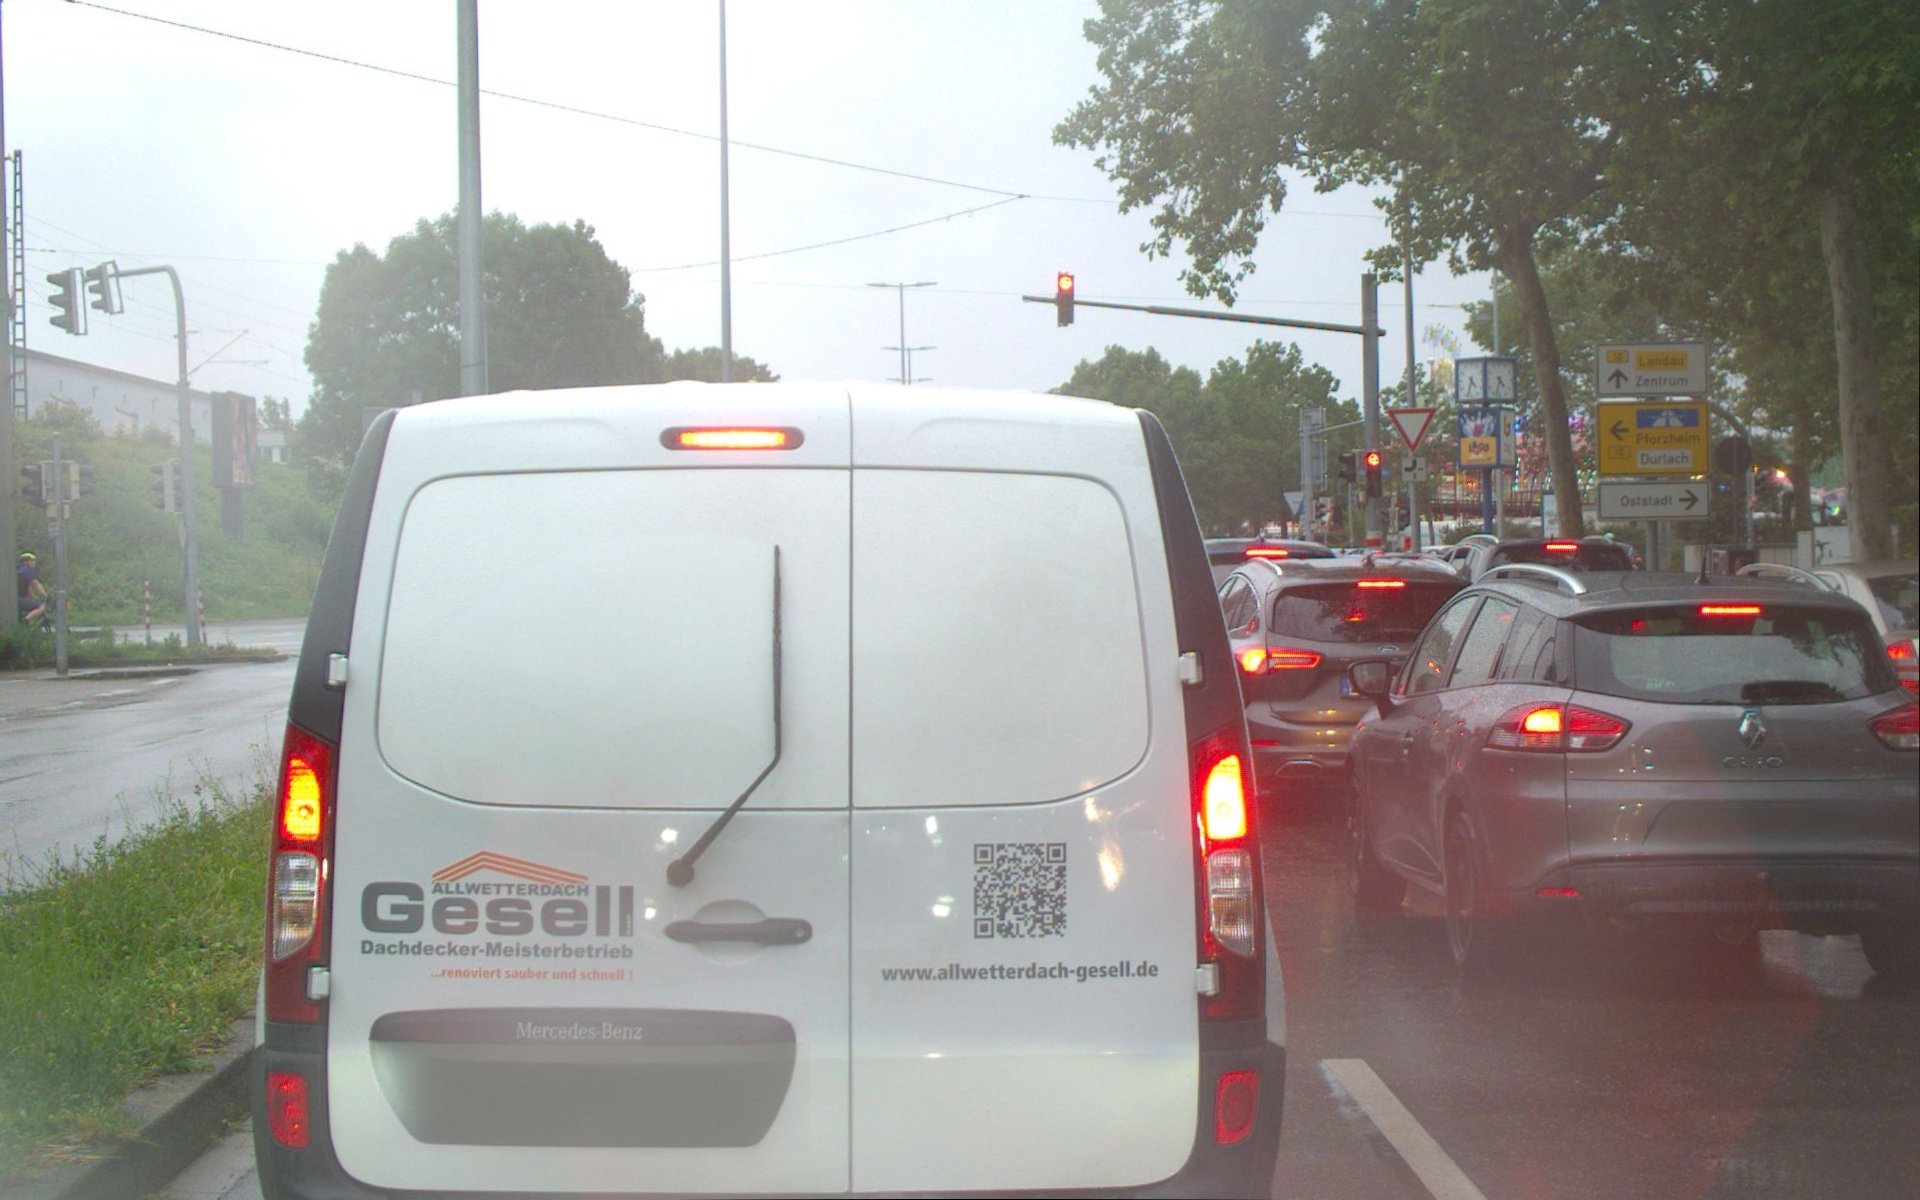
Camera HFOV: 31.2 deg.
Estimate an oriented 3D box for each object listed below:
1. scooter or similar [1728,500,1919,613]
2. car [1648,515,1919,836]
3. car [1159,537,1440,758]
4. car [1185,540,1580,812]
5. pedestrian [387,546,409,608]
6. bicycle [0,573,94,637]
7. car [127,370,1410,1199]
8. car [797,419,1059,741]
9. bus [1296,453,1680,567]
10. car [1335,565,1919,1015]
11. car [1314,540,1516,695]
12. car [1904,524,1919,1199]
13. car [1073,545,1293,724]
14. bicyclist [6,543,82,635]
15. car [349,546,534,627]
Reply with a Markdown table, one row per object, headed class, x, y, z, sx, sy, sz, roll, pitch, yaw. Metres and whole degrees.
| class | x | y | z | sx | sy | sz | roll | pitch | yaw |
| --- | --- | --- | --- | --- | --- | --- | --- | --- | --- |
| scooter or similar | 19.987 | -0.985 | 77.064 | 1.890 | 2.437 | 5.316 | -1 | 1 | -41 |
| car | 5.261 | 0.348 | 19.384 | 1.876 | 1.607 | 4.000 | 1 | 1 | -1 |
| car | 2.670 | 0.324 | 27.865 | 1.854 | 1.644 | 3.843 | 0 | 1 | -1 |
| car | 2.429 | 0.382 | 20.637 | 1.854 | 1.455 | 3.843 | 0 | 1 | -1 |
| pedestrian | -15.704 | -0.643 | 96.110 | 0.543 | 1.710 | 0.563 | 1 | 0 | -4 |
| bicycle | -14.817 | 0.061 | 55.580 | 1.040 | 0.949 | 2.889 | -2 | 2 | -25 |
| car | -0.320 | 0.481 | 7.655 | 1.993 | 1.770 | 4.585 | 0 | 1 | -1 |
| car | -0.248 | -0.184 | 26.394 | 1.854 | 2.288 | 3.843 | 0 | 1 | -1 |
| bus | 16.963 | -2.918 | 110.879 | 11.970 | 3.411 | 2.315 | -1 | 1 | 0 |
| car | 2.530 | 0.602 | 13.083 | 1.683 | 1.403 | 3.843 | 1 | 1 | -1 |
| car | 5.053 | 0.166 | 38.637 | 1.708 | 1.644 | 3.843 | 0 | 1 | -1 |
| car | 2.973 | 0.649 | 5.413 | 1.747 | 1.549 | 4.091 | 0 | 1 | -1 |
| car | 2.113 | 0.297 | 33.528 | 1.854 | 1.644 | 3.843 | 0 | 1 | -1 |
| bicyclist | -14.796 | -0.185 | 55.530 | 1.040 | 1.445 | 0.729 | -2 | 2 | -25 |
| car | -12.608 | -0.331 | 83.528 | 3.986 | 1.881 | 2.000 | 1 | 2 | -27 |
